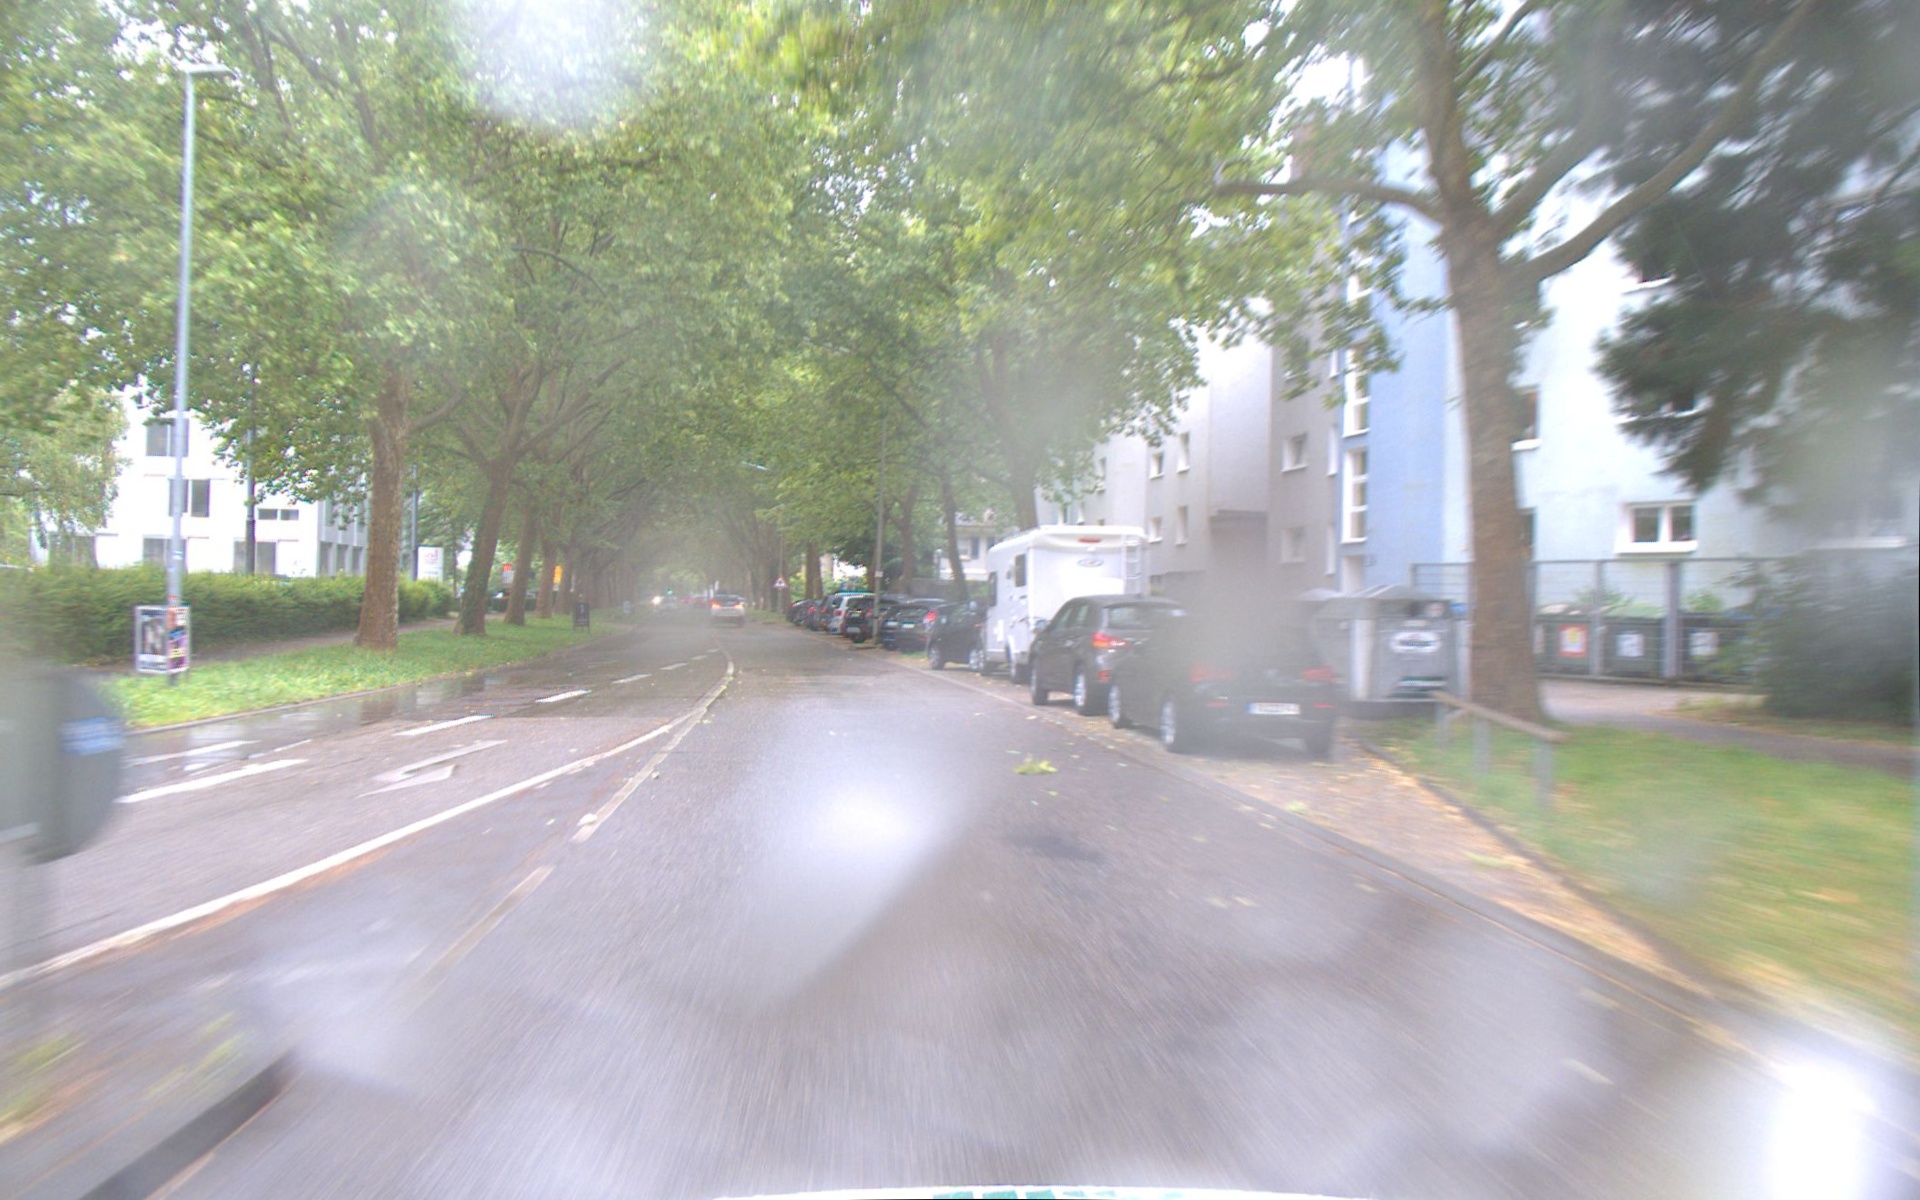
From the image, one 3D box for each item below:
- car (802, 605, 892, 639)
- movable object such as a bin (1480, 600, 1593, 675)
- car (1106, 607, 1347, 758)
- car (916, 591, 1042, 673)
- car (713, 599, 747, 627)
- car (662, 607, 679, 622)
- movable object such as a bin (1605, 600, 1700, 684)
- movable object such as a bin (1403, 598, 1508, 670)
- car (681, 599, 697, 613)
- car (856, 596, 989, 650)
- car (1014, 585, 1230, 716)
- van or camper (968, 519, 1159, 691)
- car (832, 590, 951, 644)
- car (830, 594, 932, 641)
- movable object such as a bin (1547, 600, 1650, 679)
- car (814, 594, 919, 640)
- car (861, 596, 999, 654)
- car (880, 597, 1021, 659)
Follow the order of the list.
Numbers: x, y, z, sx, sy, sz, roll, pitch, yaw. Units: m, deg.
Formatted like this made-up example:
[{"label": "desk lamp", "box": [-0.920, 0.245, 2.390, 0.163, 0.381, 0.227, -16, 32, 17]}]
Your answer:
[{"label": "car", "box": [-5.307, 1.011, 77.504, 3.965, 1.466, 1.680, -1, 1, -13]}, {"label": "movable object such as a bin", "box": [11.828, 0.760, 33.972, 1.198, 1.457, 1.846, 2, 0, -27]}, {"label": "car", "box": [2.836, 0.831, 18.483, 1.519, 1.414, 4.143, 2, 0, -7]}, {"label": "car", "box": [0.395, 0.695, 36.920, 1.666, 1.681, 2.922, 2, 0, -26]}, {"label": "car", "box": [-12.128, 0.675, 86.998, 1.675, 1.436, 3.636, -1, 0, -10]}, {"label": "car", "box": [-28.678, 1.434, 163.906, 1.648, 1.413, 4.539, 0, 0, -9]}, {"label": "movable object such as a bin", "box": [13.005, 0.770, 31.067, 1.145, 1.498, 1.212, -1, 1, -28]}, {"label": "movable object such as a bin", "box": [10.674, 0.729, 35.667, 1.198, 1.457, 1.846, 2, 0, -27]}, {"label": "car", "box": [-28.497, 0.660, 173.783, 1.675, 1.436, 3.636, -1, 0, -10]}, {"label": "car", "box": [-1.231, 0.778, 54.603, 3.957, 1.629, 2.009, 2, 0, -37]}, {"label": "car", "box": [2.196, 0.712, 23.680, 1.881, 1.649, 4.441, 2, -2, -11]}, {"label": "van or camper", "box": [1.794, 0.100, 31.610, 2.275, 2.856, 6.851, 2, 0, -8]}, {"label": "car", "box": [-2.348, 0.559, 57.456, 3.828, 1.727, 1.813, -1, 2, -38]}, {"label": "car", "box": [-3.229, 0.710, 67.204, 3.913, 1.757, 1.797, 2, 0, -9]}, {"label": "movable object such as a bin", "box": [12.535, 0.769, 32.495, 1.301, 1.457, 1.358, 2, 0, -27]}, {"label": "car", "box": [-4.006, 0.704, 70.626, 4.258, 1.792, 1.814, 2, 0, -10]}, {"label": "car", "box": [-0.884, 0.773, 50.503, 3.962, 1.629, 1.777, 2, 0, -40]}, {"label": "car", "box": [-0.243, 0.801, 46.958, 3.733, 1.629, 1.777, 2, 0, -40]}]
